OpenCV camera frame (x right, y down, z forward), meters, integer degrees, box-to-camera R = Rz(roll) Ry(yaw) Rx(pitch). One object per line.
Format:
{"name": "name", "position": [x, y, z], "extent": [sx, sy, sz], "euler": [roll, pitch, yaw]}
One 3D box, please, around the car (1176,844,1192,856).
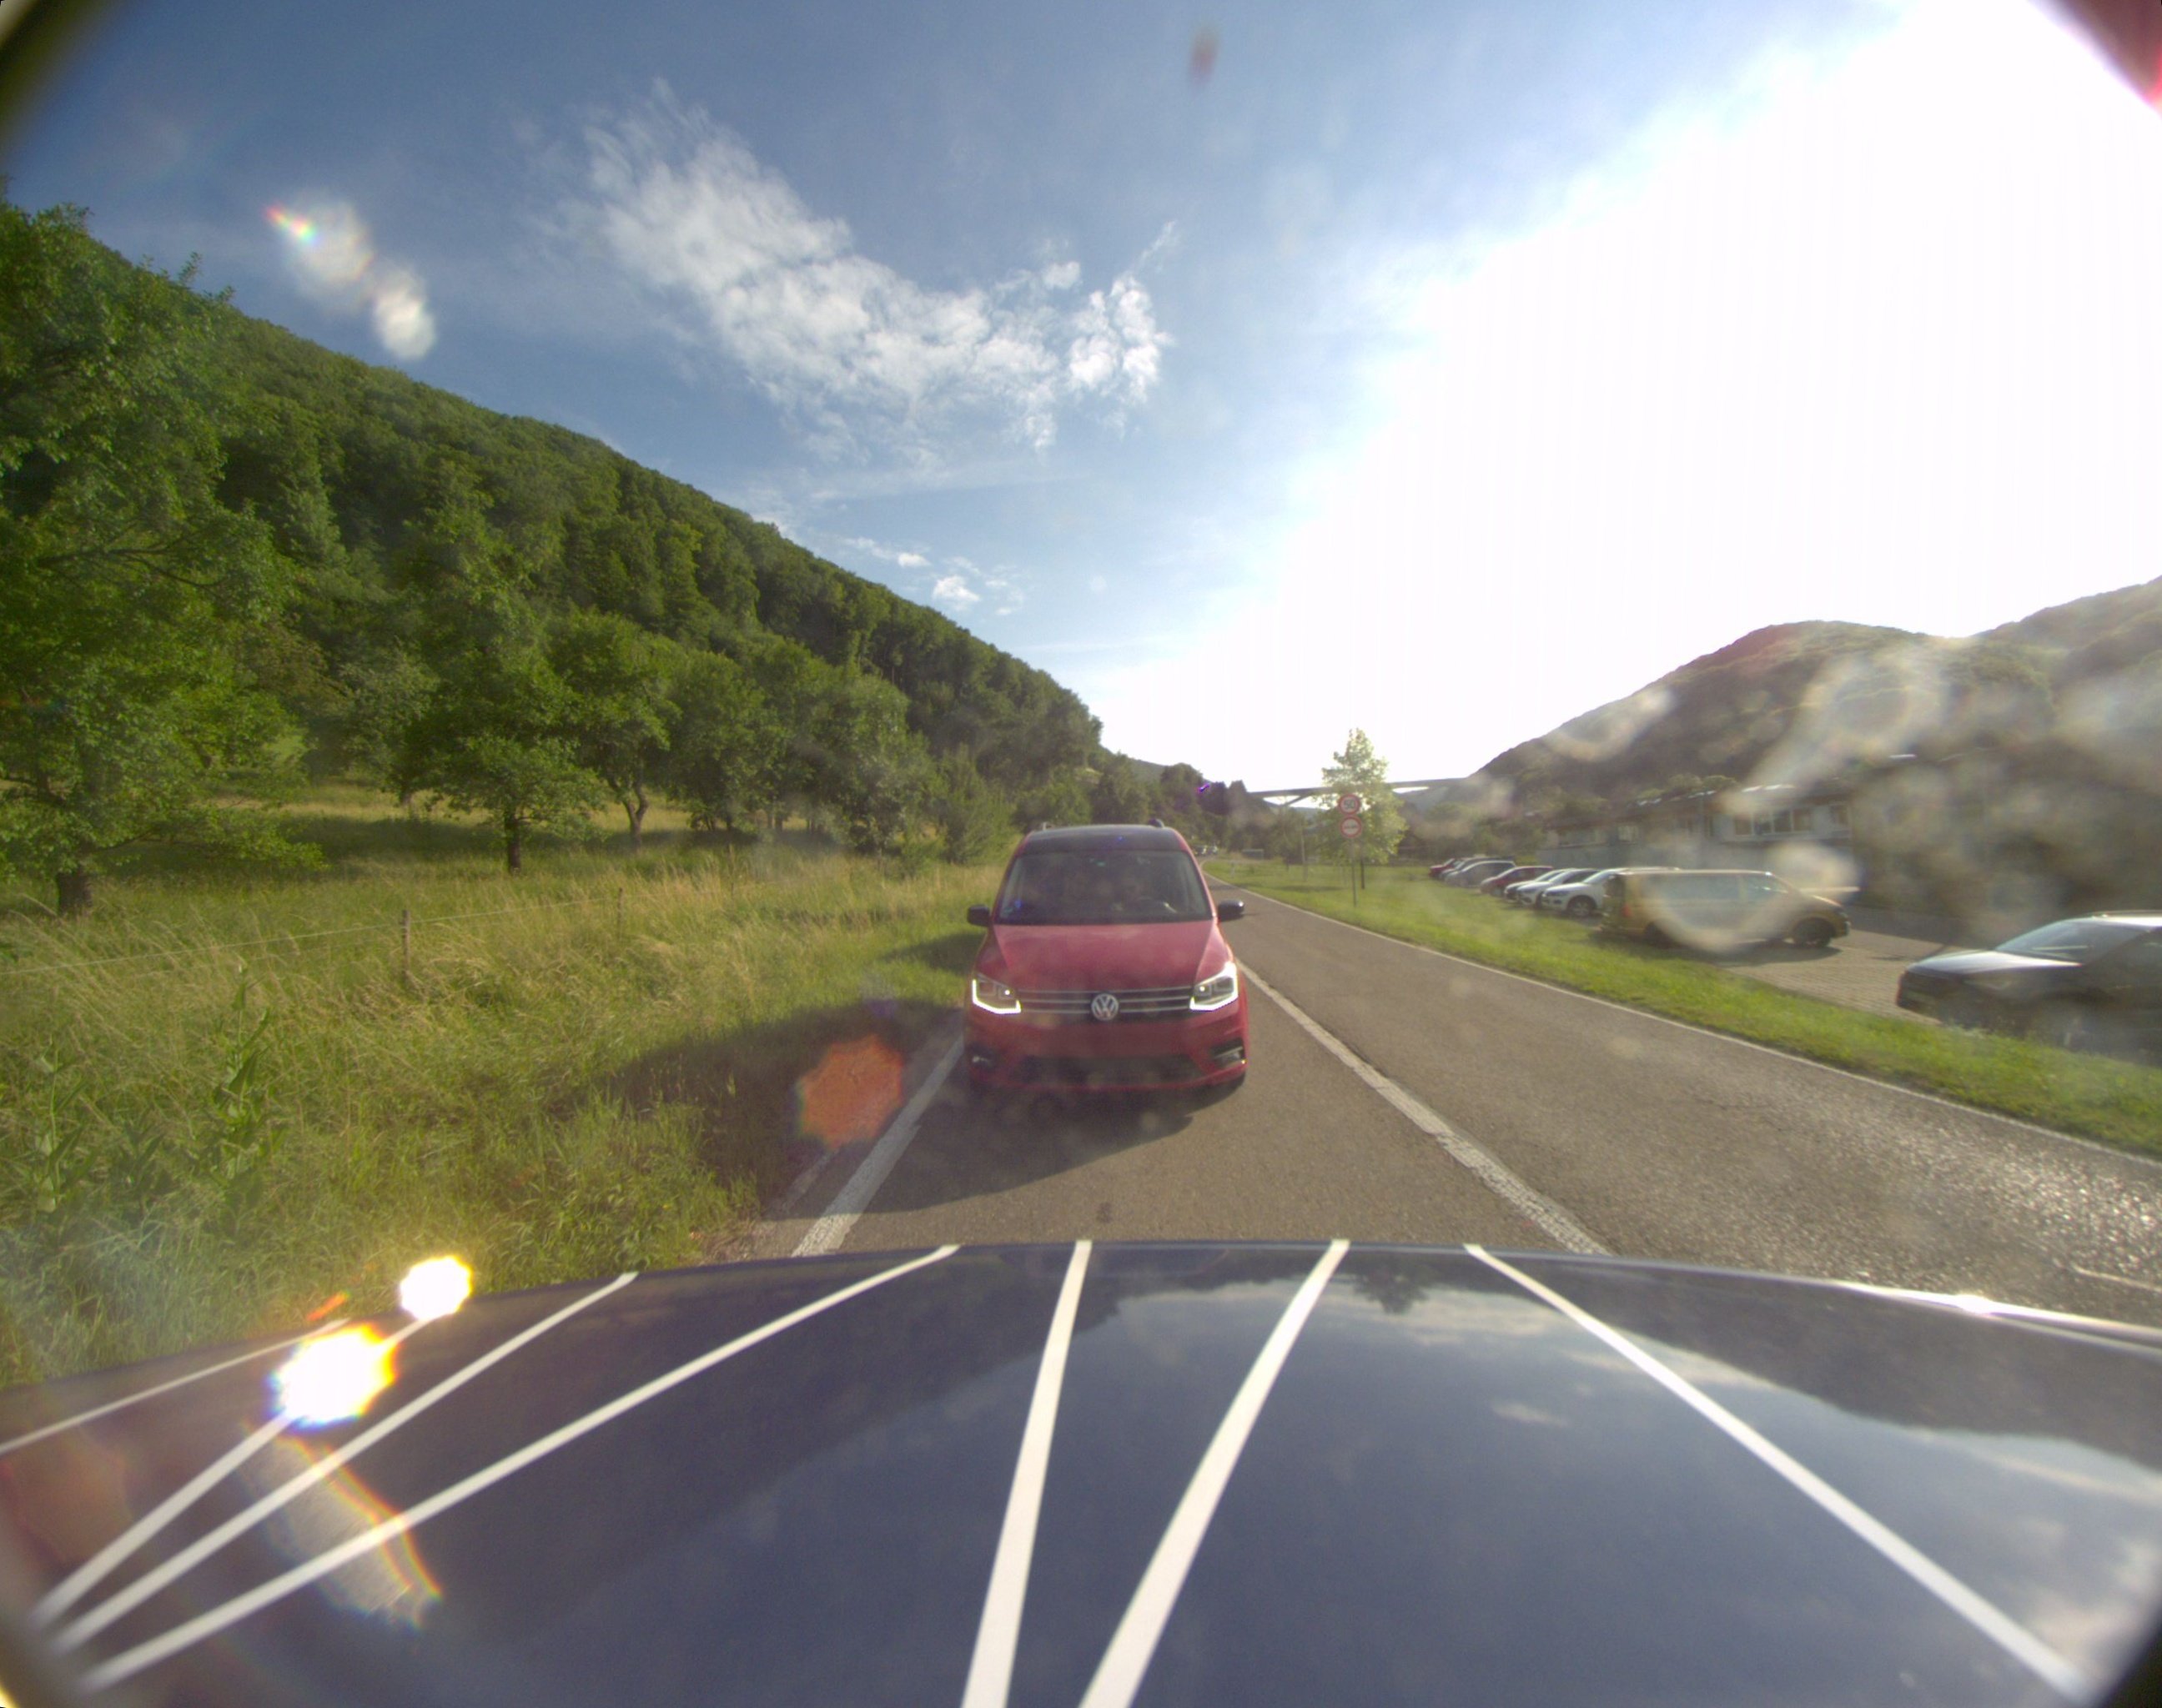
{"name": "car", "position": [15.175, -0.536, 111.980], "extent": [1.797, 1.725, 4.288], "euler": [-2, 0, 14]}

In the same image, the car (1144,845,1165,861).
{"name": "car", "position": [8.005, -0.071, 82.389], "extent": [1.911, 1.675, 4.003], "euler": [-2, -1, 9]}

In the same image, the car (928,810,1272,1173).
{"name": "car", "position": [0.129, 0.736, 6.156], "extent": [1.747, 1.849, 4.348], "euler": [-2, 0, 1]}

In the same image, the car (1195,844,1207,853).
{"name": "car", "position": [21.553, -0.989, 135.853], "extent": [1.677, 1.637, 3.350], "euler": [-2, 0, 16]}

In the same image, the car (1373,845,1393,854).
{"name": "car", "position": [53.619, -0.784, 134.846], "extent": [1.994, 1.518, 4.783], "euler": [-1, 0, 39]}

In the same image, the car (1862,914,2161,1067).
{"name": "car", "position": [13.540, 1.706, 9.894], "extent": [4.289, 1.628, 1.915], "euler": [-3, 0, 15]}

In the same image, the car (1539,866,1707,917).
{"name": "car", "position": [19.331, 1.325, 27.375], "extent": [4.545, 1.691, 2.003], "euler": [-1, 0, 20]}

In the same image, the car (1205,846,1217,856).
{"name": "car", "position": [25.785, -0.539, 150.544], "extent": [1.996, 1.706, 4.005], "euler": [-4, -2, 14]}

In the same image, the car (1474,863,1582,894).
{"name": "car", "position": [22.710, 1.247, 38.802], "extent": [4.437, 1.443, 2.003], "euler": [-1, 0, 20]}

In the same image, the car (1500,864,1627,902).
{"name": "car", "position": [21.416, 1.270, 33.927], "extent": [4.437, 1.573, 2.003], "euler": [-1, 0, 18]}

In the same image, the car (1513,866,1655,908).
{"name": "car", "position": [20.206, 1.323, 30.772], "extent": [4.437, 1.577, 2.003], "euler": [-1, 0, 20]}

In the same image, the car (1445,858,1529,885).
{"name": "car", "position": [25.813, 1.112, 48.449], "extent": [4.437, 1.573, 2.003], "euler": [-2, 0, 18]}

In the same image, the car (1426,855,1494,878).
{"name": "car", "position": [28.900, 0.933, 58.084], "extent": [4.437, 1.709, 2.003], "euler": [-1, 0, 18]}

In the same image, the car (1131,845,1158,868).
{"name": "car", "position": [5.549, 0.216, 66.103], "extent": [1.997, 1.838, 4.003], "euler": [-2, 0, 8]}

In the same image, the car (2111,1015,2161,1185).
{"name": "car", "position": [12.092, 2.286, 5.916], "extent": [4.645, 1.488, 1.915], "euler": [-1, 0, 15]}

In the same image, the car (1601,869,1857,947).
{"name": "car", "position": [16.515, 1.341, 19.703], "extent": [4.653, 1.802, 2.003], "euler": [-1, 0, 20]}

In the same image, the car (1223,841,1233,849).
{"name": "car", "position": [34.521, -2.177, 178.569], "extent": [1.909, 1.893, 4.004], "euler": [-2, 1, 16]}

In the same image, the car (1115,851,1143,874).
{"name": "car", "position": [3.302, 0.551, 51.910], "extent": [1.798, 1.464, 4.284], "euler": [-2, 0, 4]}

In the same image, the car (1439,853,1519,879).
{"name": "car", "position": [27.610, 0.845, 52.910], "extent": [4.665, 1.752, 2.003], "euler": [-1, 0, 18]}
